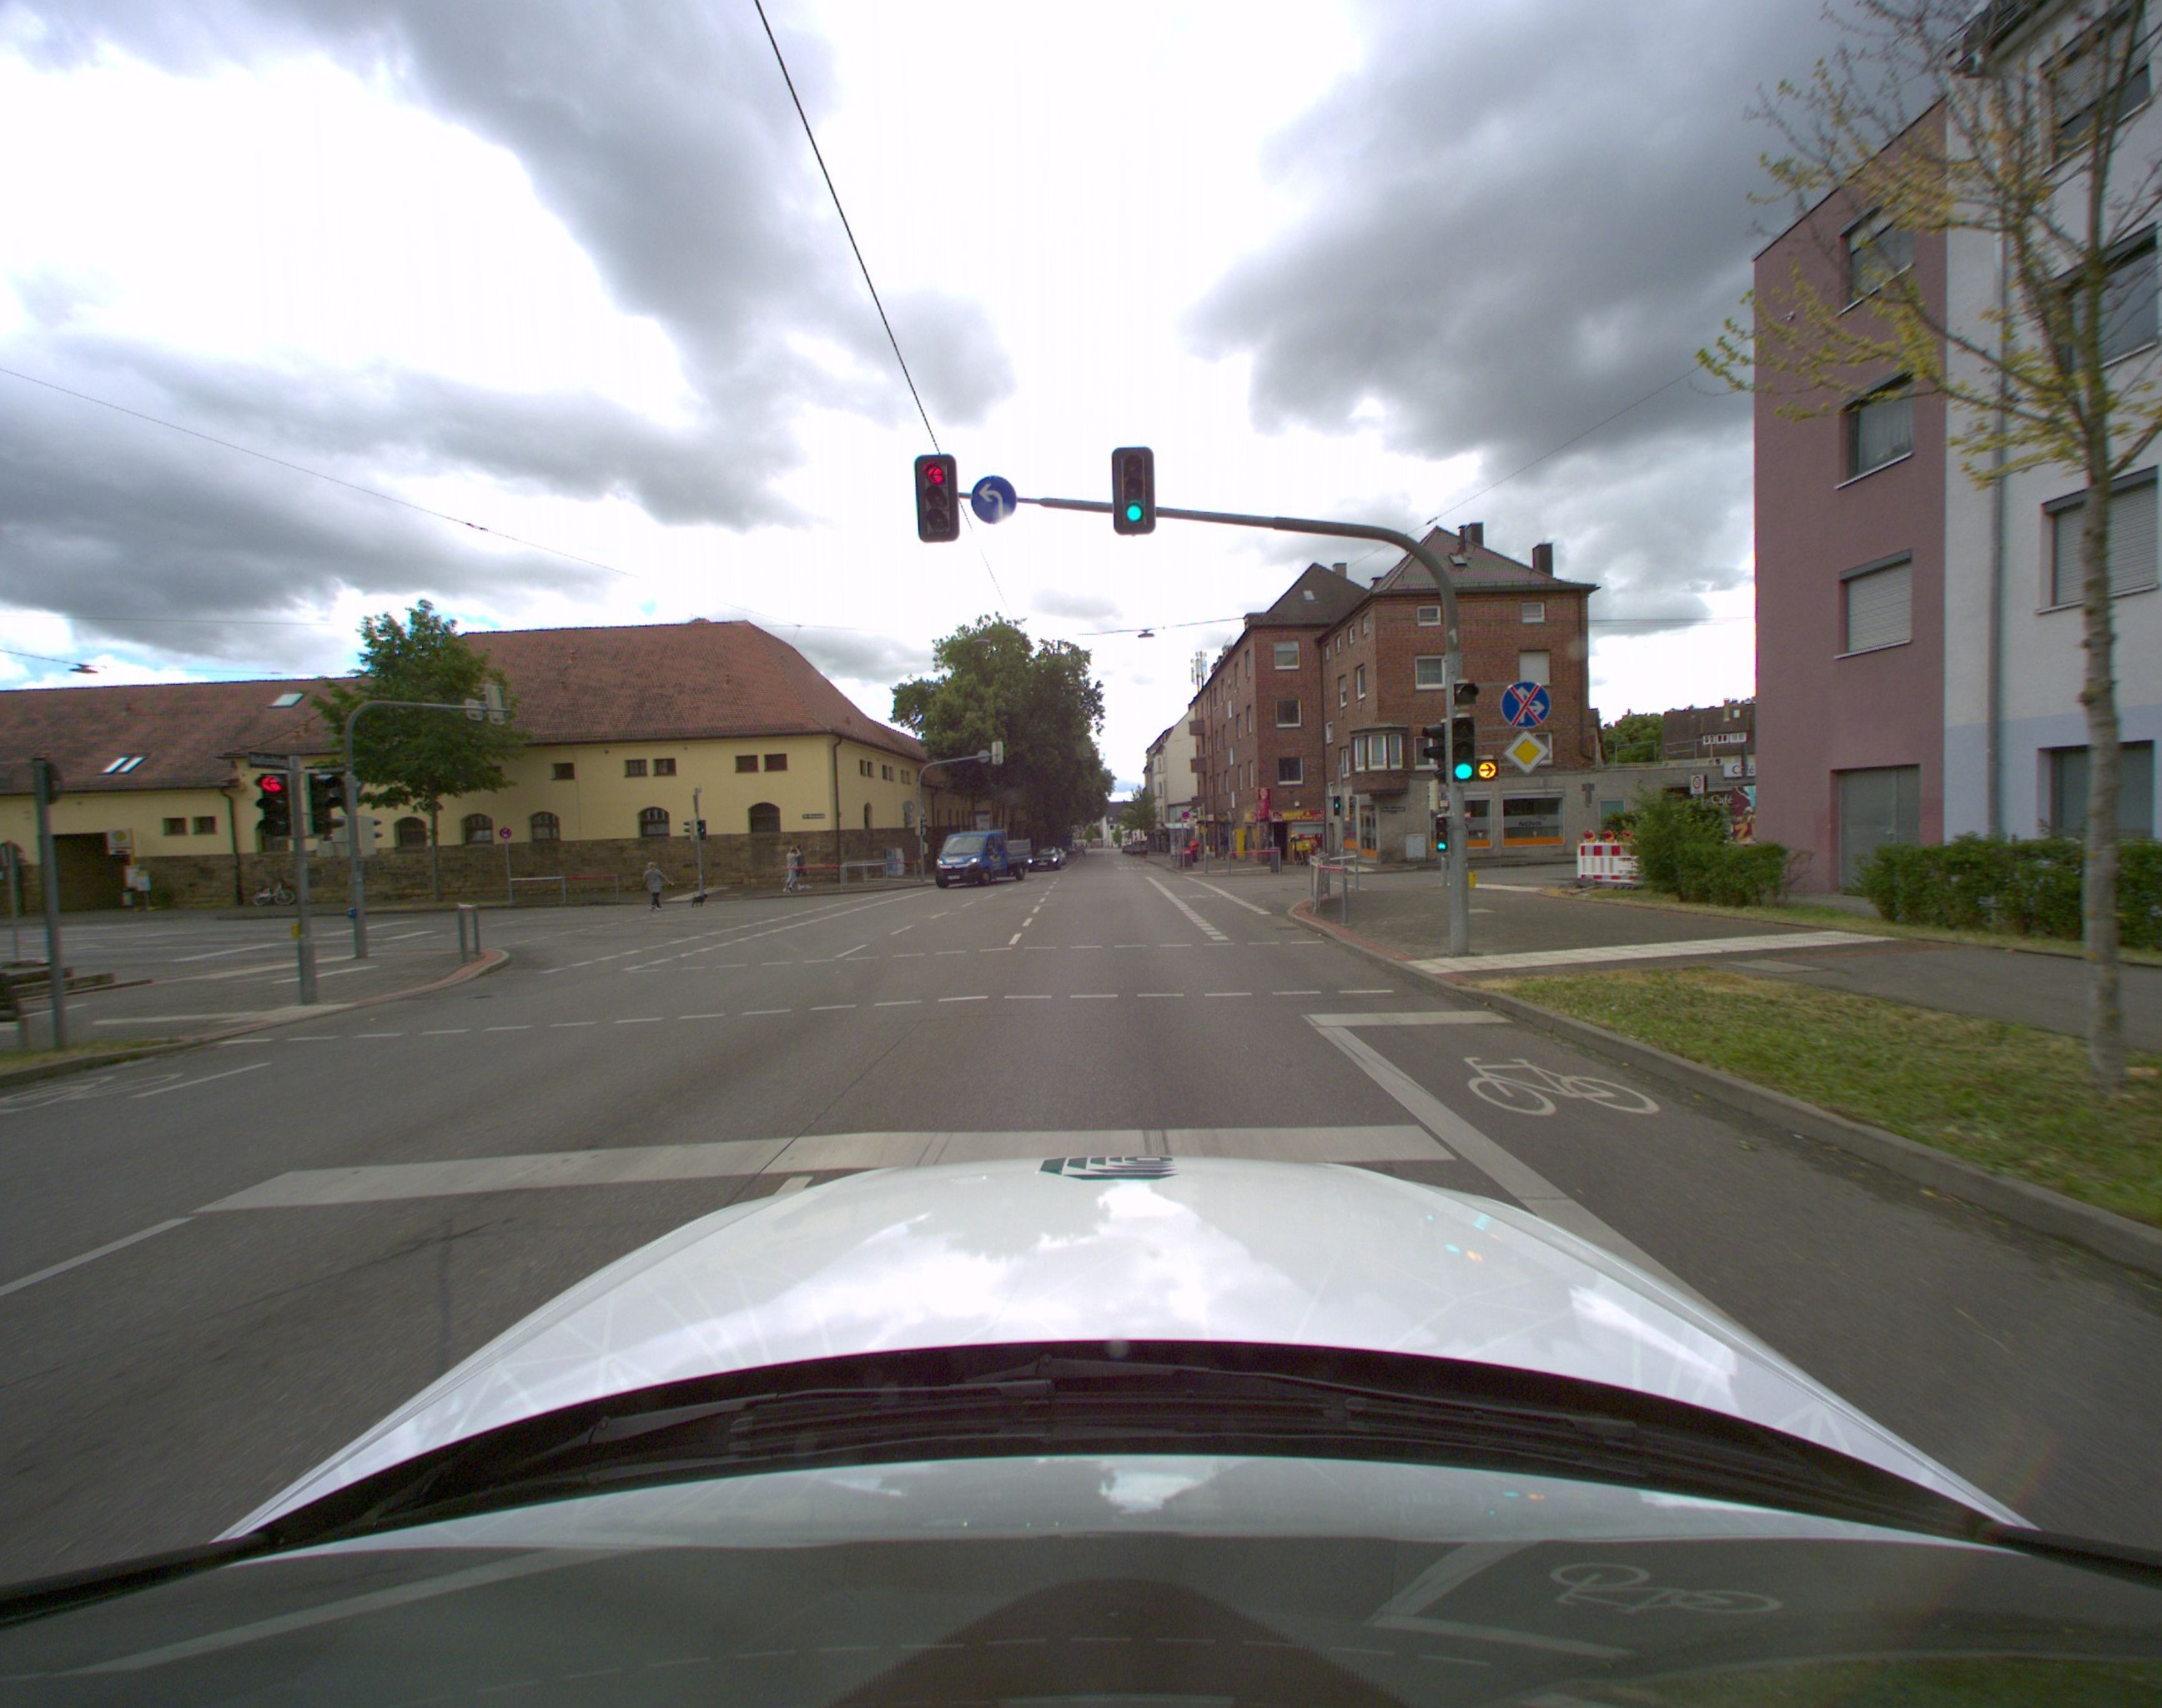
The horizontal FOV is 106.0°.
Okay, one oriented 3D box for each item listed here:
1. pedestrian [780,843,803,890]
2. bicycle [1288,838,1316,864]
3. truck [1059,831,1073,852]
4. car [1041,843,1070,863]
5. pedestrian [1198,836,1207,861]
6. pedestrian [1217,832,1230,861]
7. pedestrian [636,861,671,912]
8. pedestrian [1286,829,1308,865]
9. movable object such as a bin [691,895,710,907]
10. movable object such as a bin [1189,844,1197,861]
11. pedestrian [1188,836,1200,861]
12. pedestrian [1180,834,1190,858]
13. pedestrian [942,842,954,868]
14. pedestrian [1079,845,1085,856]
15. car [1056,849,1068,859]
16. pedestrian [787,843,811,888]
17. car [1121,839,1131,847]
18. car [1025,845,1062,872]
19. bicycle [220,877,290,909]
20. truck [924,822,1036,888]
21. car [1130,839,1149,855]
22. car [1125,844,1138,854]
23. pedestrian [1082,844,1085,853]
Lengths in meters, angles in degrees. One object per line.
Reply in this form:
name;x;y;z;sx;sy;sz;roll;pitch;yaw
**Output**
pedestrian;-11.290;0.486;31.759;0.562;1.777;0.717;-2;0;1
bicycle;10.494;-0.150;38.766;0.757;1.193;2.392;-2;1;2
truck;-2.555;-2.166;141.044;2.223;3.346;7.450;-2;1;1
car;-1.834;-0.058;60.239;1.678;1.275;4.099;-4;0;3
pedestrian;8.388;-0.382;56.204;0.477;1.765;0.458;-2;0;1
pedestrian;8.654;-0.474;49.451;0.644;1.750;0.779;-2;0;7
pedestrian;-13.785;1.033;26.261;0.561;1.566;0.844;-2;0;7
pedestrian;10.378;-0.330;39.170;0.785;1.656;0.772;-4;0;2
movable object such as a bin;-12.903;1.601;27.639;0.305;0.347;0.582;-2;1;7
movable object such as a bin;7.142;-0.108;51.950;0.449;1.056;0.412;-1;0;21
pedestrian;7.256;-0.355;52.183;0.560;1.636;0.684;-1;0;21
pedestrian;7.617;-0.585;59.872;0.666;1.727;0.765;-2;0;7
pedestrian;-8.997;0.076;55.152;0.672;1.765;0.726;-2;0;1
pedestrian;0.181;-0.520;122.633;0.676;1.536;0.606;-2;0;-26
car;-3.073;0.006;131.724;1.829;1.578;3.755;-2;1;-1
pedestrian;-11.277;0.440;32.584;0.562;1.777;0.842;-2;0;1
car;8.703;-2.154;158.324;1.664;1.547;3.755;-2;1;-1
car;-2.167;0.218;47.871;1.696;1.414;4.196;-3;1;3
bicycle;-34.775;1.631;34.285;2.309;1.266;0.515;-2;0;-2
truck;-4.078;-0.028;34.457;2.278;2.427;6.438;-3;1;15
car;7.464;-0.895;104.877;1.988;1.935;4.916;-2;1;-1
car;7.902;-0.764;128.196;1.664;1.547;3.755;-2;1;-1
pedestrian;0.701;-1.387;204.151;0.631;2.013;0.785;-2;0;3
